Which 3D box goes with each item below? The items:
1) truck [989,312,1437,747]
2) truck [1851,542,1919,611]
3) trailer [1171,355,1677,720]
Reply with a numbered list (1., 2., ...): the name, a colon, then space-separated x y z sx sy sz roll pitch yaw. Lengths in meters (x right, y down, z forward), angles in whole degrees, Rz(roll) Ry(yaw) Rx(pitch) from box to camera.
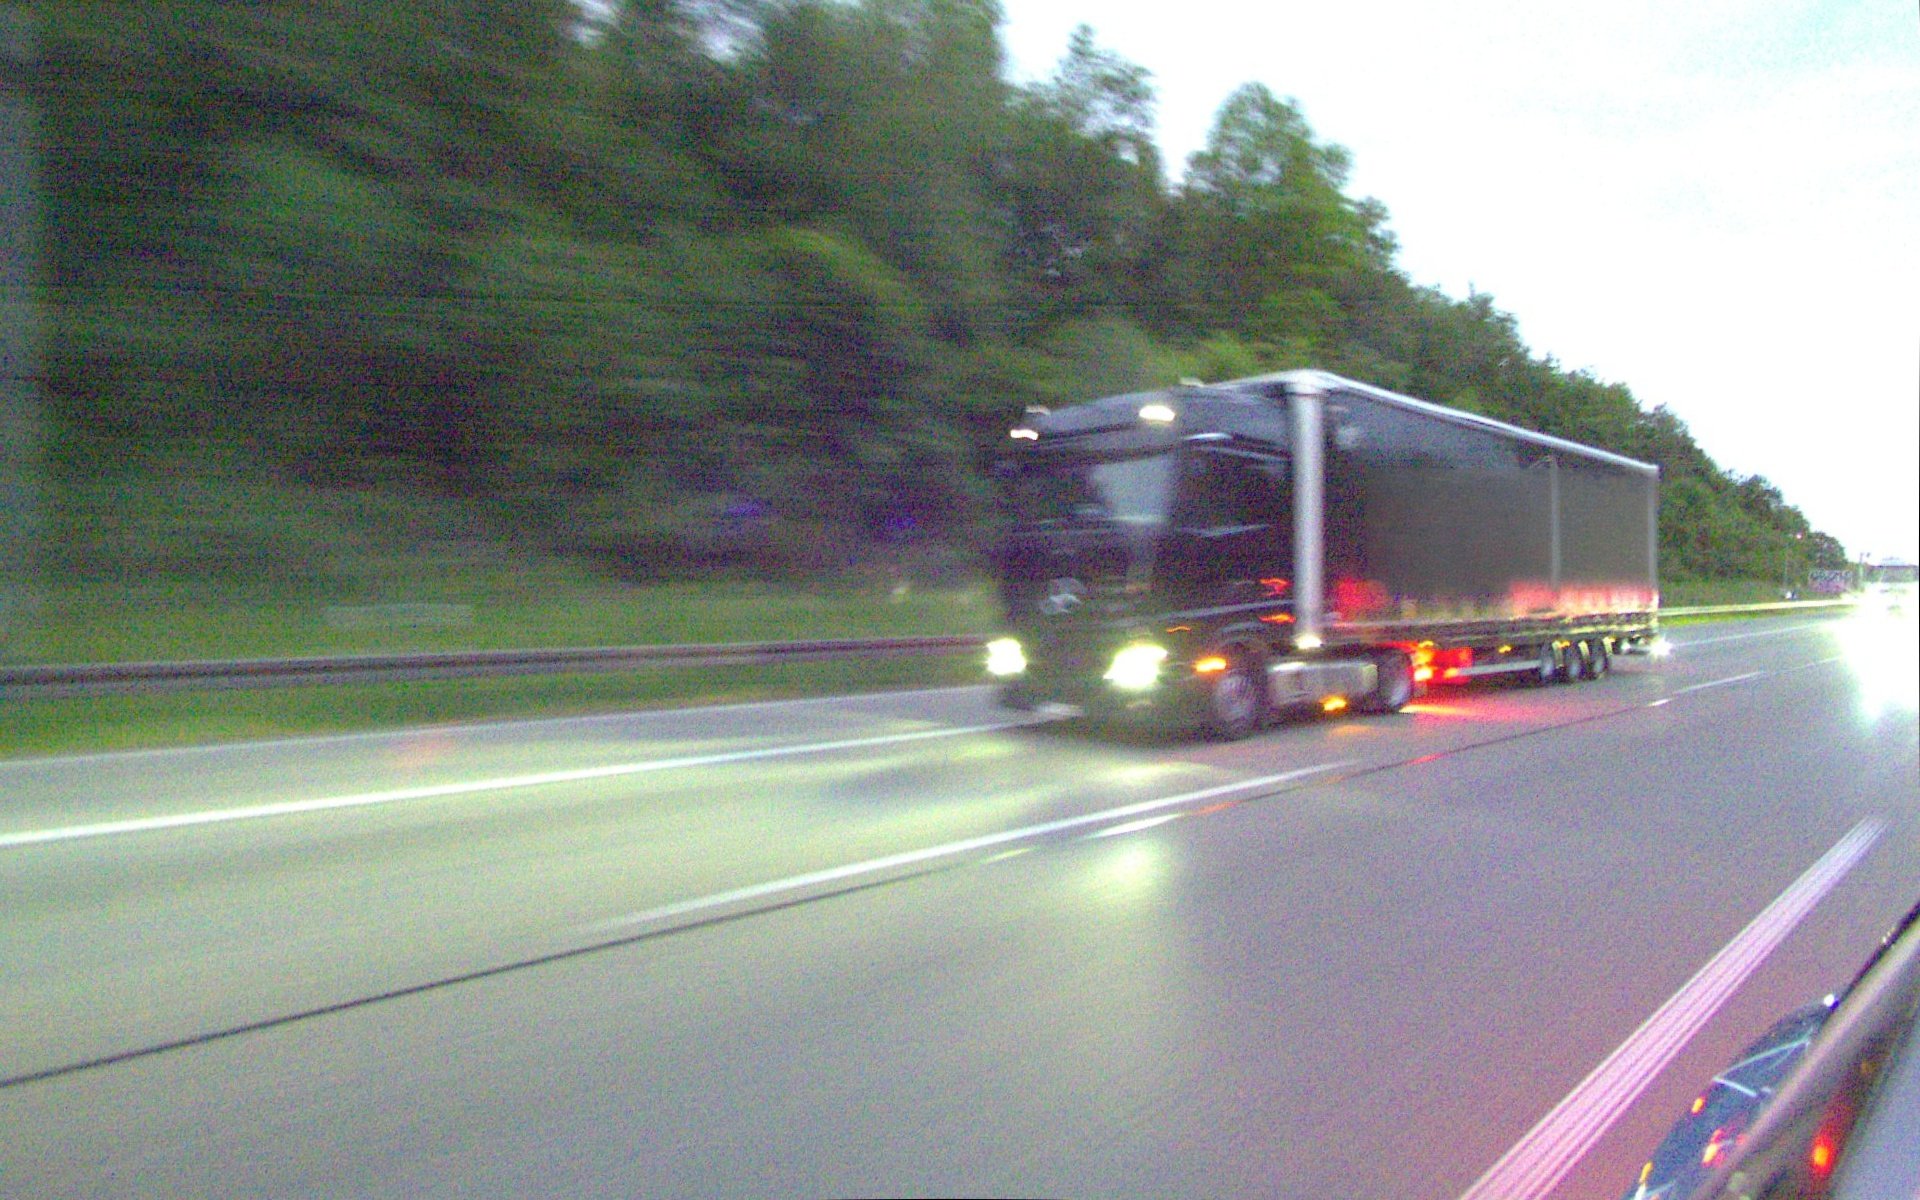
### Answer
1. truck: 3.212 -0.674 12.088 5.492 4.018 2.496 0 0 -41
2. truck: 59.789 -1.416 63.873 13.296 4.018 3.339 0 0 -40
3. trailer: 8.559 -0.747 16.780 13.271 4.124 2.487 0 0 -41
